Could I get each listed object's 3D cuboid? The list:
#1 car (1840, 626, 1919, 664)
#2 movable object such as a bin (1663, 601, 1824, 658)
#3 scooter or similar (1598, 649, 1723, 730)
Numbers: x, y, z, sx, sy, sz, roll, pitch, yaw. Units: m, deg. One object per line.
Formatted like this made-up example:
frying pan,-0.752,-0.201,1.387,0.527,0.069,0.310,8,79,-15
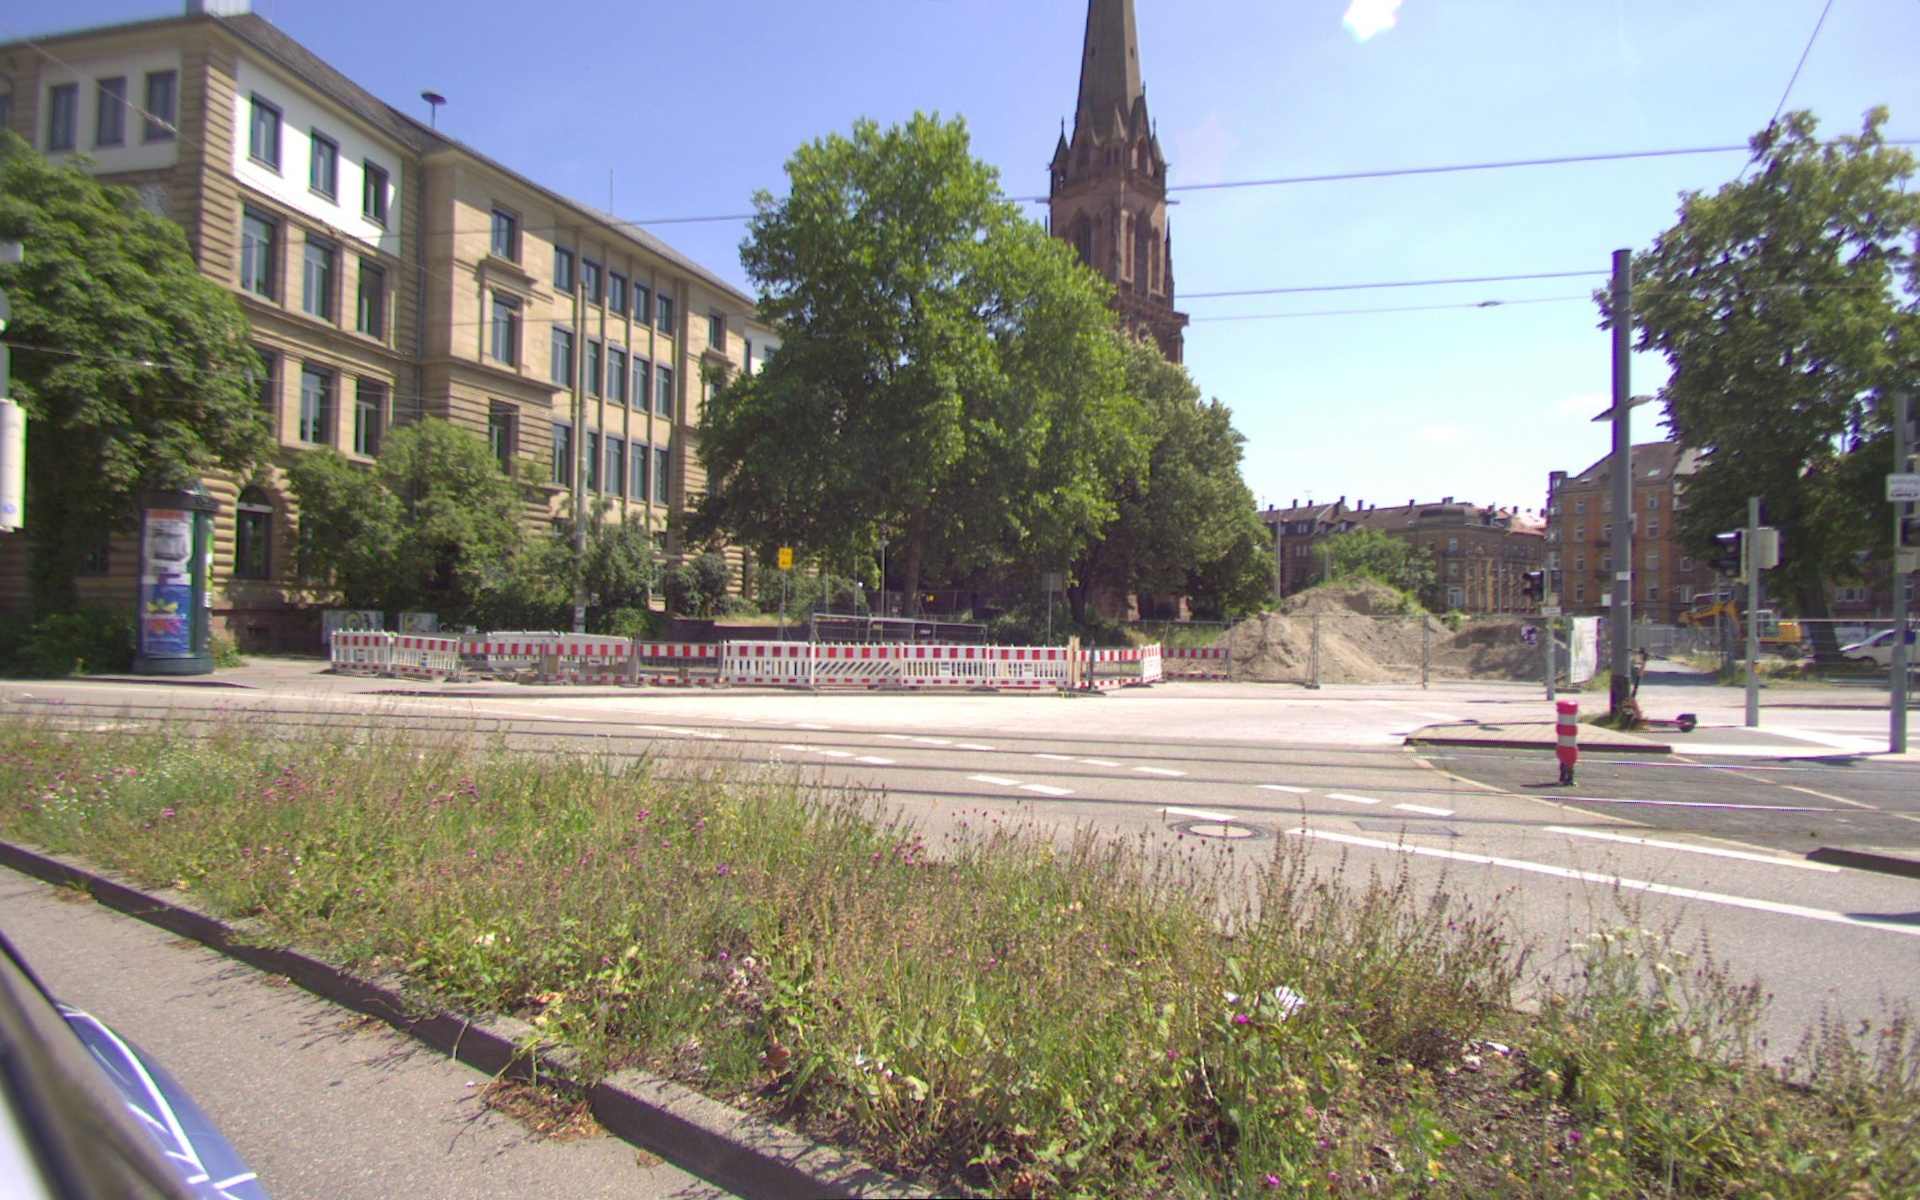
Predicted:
car,42.495,2.022,45.435,4.231,1.614,1.763,-1,0,32
movable object such as a bin,49.851,1.851,64.739,7.960,3.414,2.874,-1,0,36
scooter or similar,10.076,1.268,14.589,1.447,1.068,0.335,-1,0,41
